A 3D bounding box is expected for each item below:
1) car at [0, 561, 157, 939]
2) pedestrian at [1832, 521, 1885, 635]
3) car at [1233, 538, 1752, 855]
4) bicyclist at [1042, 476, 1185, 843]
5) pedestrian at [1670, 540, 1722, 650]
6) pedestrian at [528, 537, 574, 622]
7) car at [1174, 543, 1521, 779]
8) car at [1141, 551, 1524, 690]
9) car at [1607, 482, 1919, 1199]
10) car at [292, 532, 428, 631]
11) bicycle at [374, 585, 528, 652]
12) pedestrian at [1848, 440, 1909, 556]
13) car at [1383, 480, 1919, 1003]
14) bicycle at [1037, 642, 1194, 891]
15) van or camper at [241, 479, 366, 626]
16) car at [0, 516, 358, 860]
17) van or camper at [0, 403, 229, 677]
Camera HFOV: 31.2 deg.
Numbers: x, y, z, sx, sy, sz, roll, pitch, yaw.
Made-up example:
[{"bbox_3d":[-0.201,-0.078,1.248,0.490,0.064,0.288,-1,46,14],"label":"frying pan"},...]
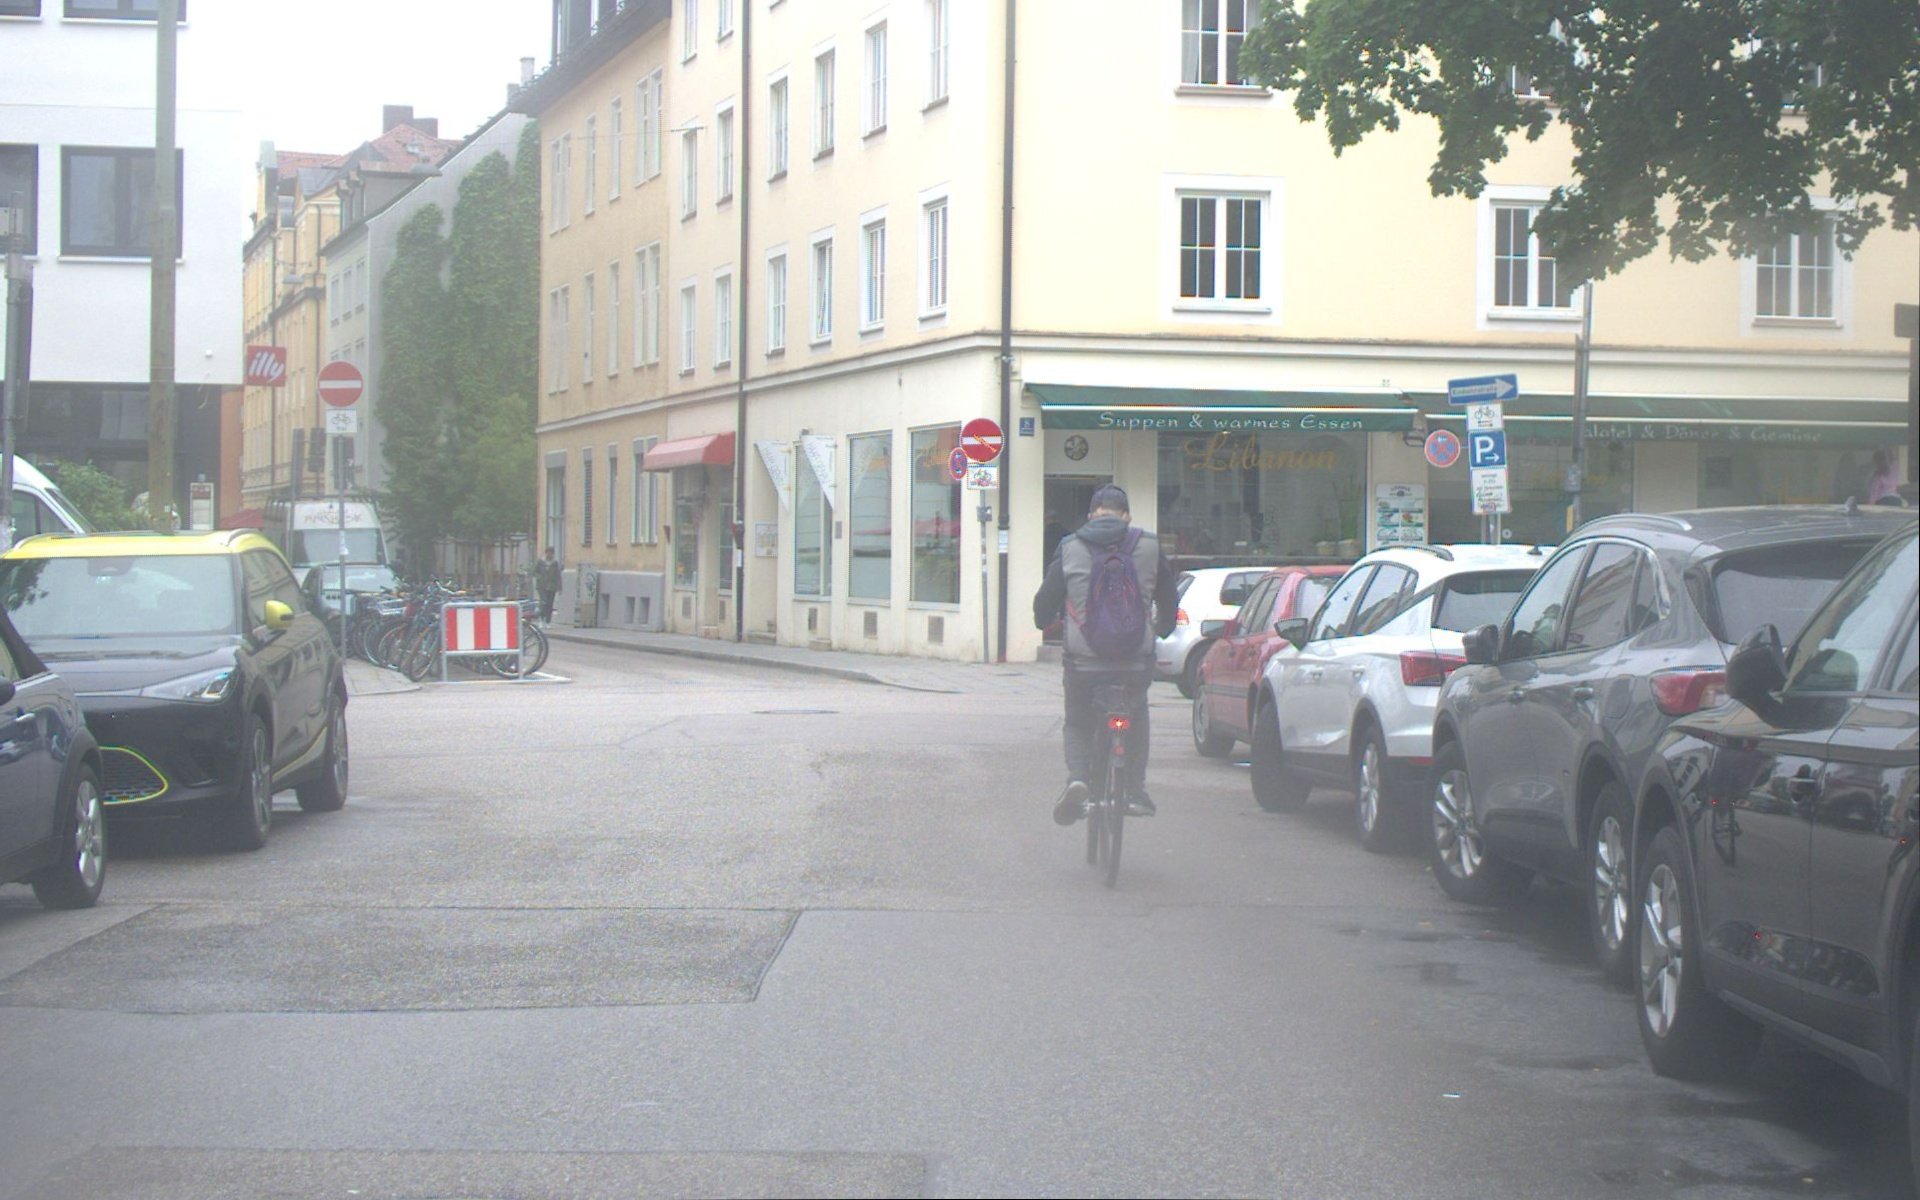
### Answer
[{"bbox_3d":[-4.413,0.569,13.129,1.707,1.385,4.000,-1,1,0],"label":"car"},{"bbox_3d":[12.205,-0.300,46.690,0.433,1.545,0.535,0,1,-30],"label":"pedestrian"},{"bbox_3d":[2.696,0.430,18.309,1.750,1.491,3.911,1,1,-6],"label":"car"},{"bbox_3d":[0.678,0.250,15.367,0.606,1.601,0.757,0,1,1],"label":"bicyclist"},{"bbox_3d":[9.643,-0.072,45.047,0.512,1.428,0.582,1,1,29],"label":"pedestrian"},{"bbox_3d":[-8.624,-0.435,72.485,0.877,1.772,0.774,0,1,-14],"label":"pedestrian"},{"bbox_3d":[2.578,0.352,23.814,1.669,1.430,4.214,1,1,-3],"label":"car"},{"bbox_3d":[4.067,0.247,37.974,3.987,1.411,1.820,1,-3,-1],"label":"car"},{"bbox_3d":[2.881,0.573,8.165,1.777,1.630,4.375,2,1,-1],"label":"car"},{"bbox_3d":[-9.686,-0.323,55.277,1.832,1.530,4.001,0,1,-14],"label":"car"},{"bbox_3d":[-6.661,0.235,44.964,1.910,0.860,0.619,0,1,-19],"label":"bicycle"},{"bbox_3d":[12.642,-1.398,47.324,0.552,1.569,0.578,2,1,-12],"label":"pedestrian"},{"bbox_3d":[2.969,0.422,13.468,1.789,1.707,4.427,0,1,-4],"label":"car"},{"bbox_3d":[0.673,0.714,15.301,0.639,1.001,1.574,0,1,1],"label":"bicycle"},{"bbox_3d":[-11.833,-0.858,61.775,1.993,2.531,4.762,0,1,-13],"label":"van or camper"},{"bbox_3d":[-4.323,0.395,18.119,1.676,1.591,3.945,-1,1,-2],"label":"car"},{"bbox_3d":[-10.311,-0.577,34.224,5.903,2.668,1.873,0,-1,-11],"label":"van or camper"}]
